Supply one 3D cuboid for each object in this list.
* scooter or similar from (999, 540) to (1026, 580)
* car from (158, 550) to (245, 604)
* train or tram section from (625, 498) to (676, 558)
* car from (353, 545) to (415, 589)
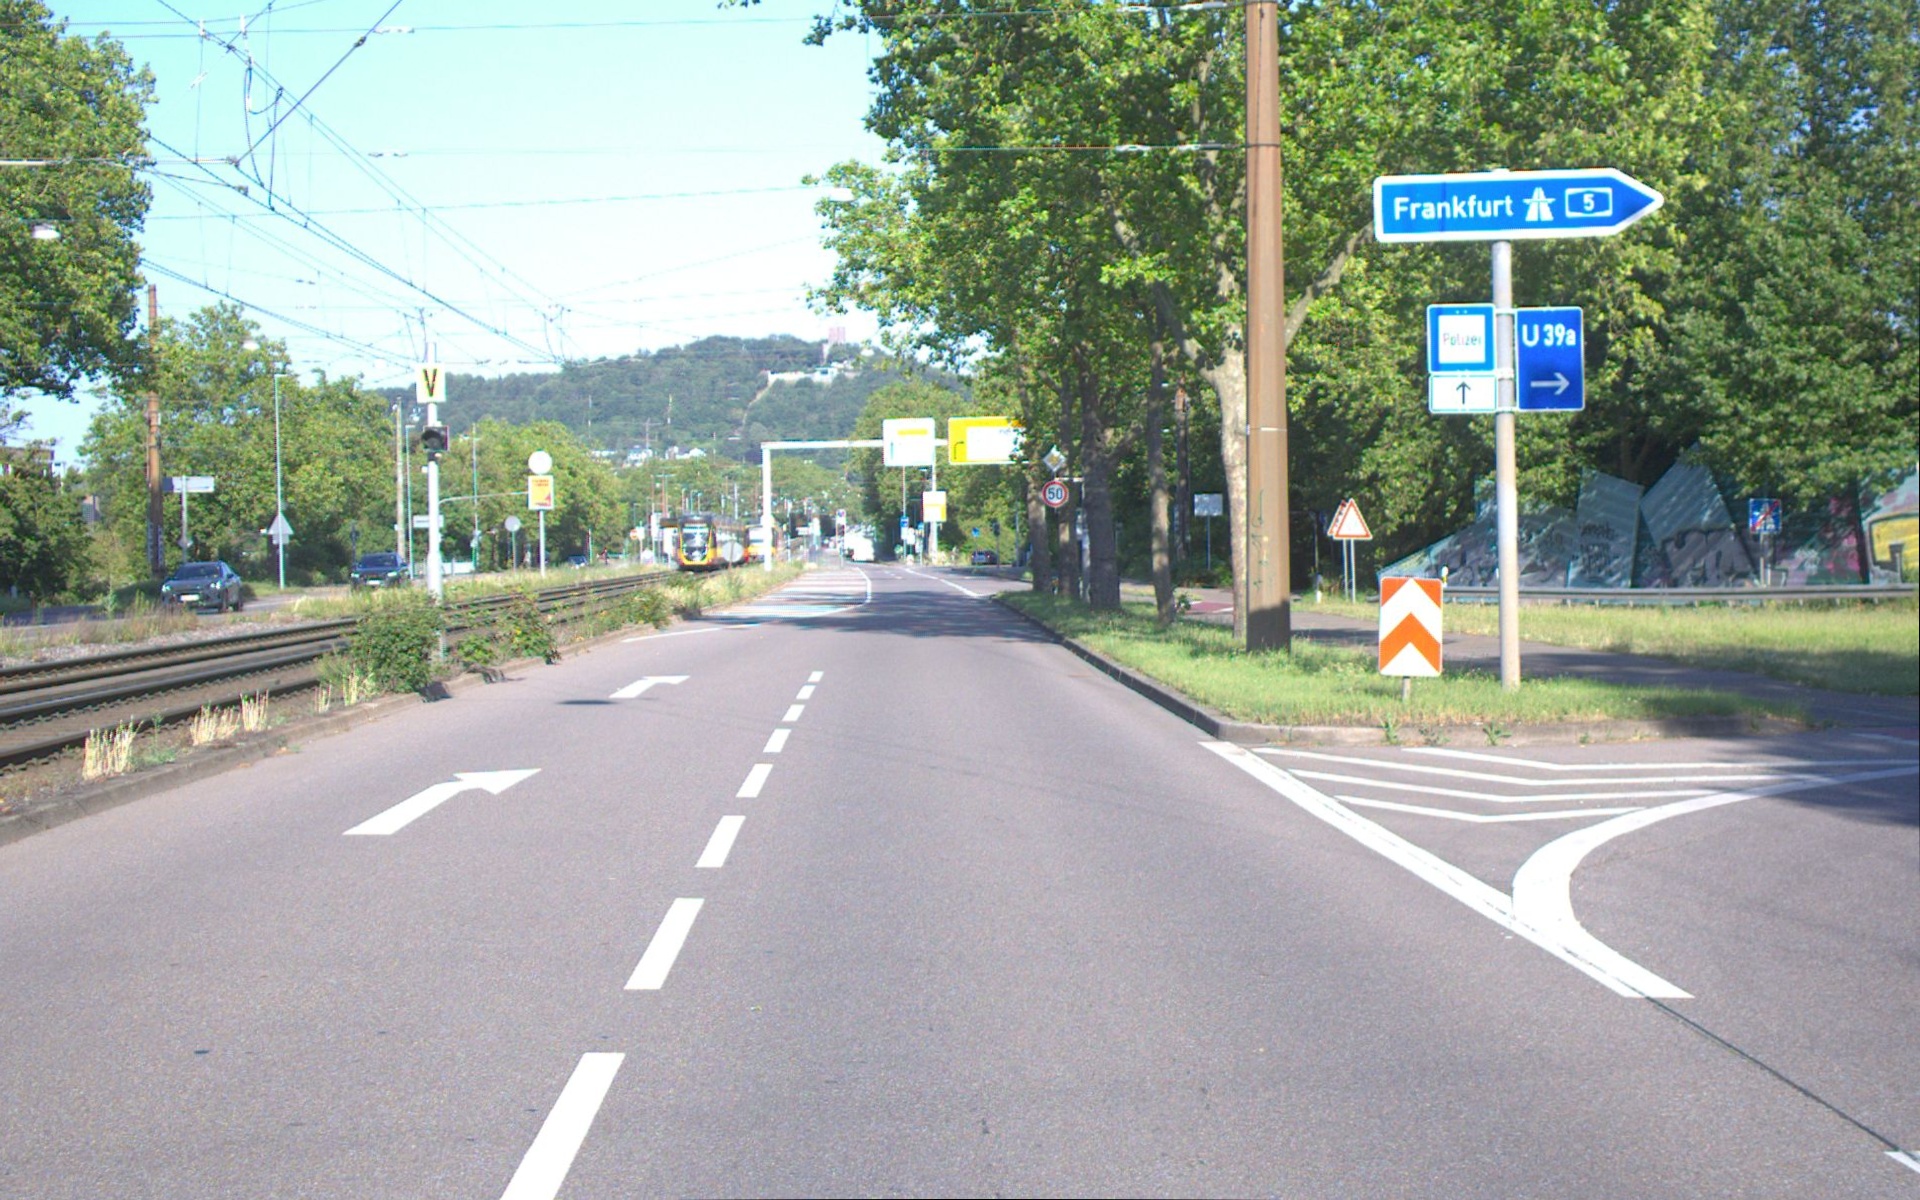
[{"bbox_3d":[3.585,-2.751,234.972,1.681,2.706,4.869,0,1,-1],"label":"scooter or similar"},{"bbox_3d":[-22.005,-0.690,99.846,1.710,1.463,4.348,-3,1,-3],"label":"car"},{"bbox_3d":[-20.790,-4.772,231.101,2.804,3.889,12.334,0,1,-2],"label":"train or tram section"},{"bbox_3d":[-23.216,-1.347,138.710,1.898,1.688,4.942,-2,1,-3],"label":"car"}]
